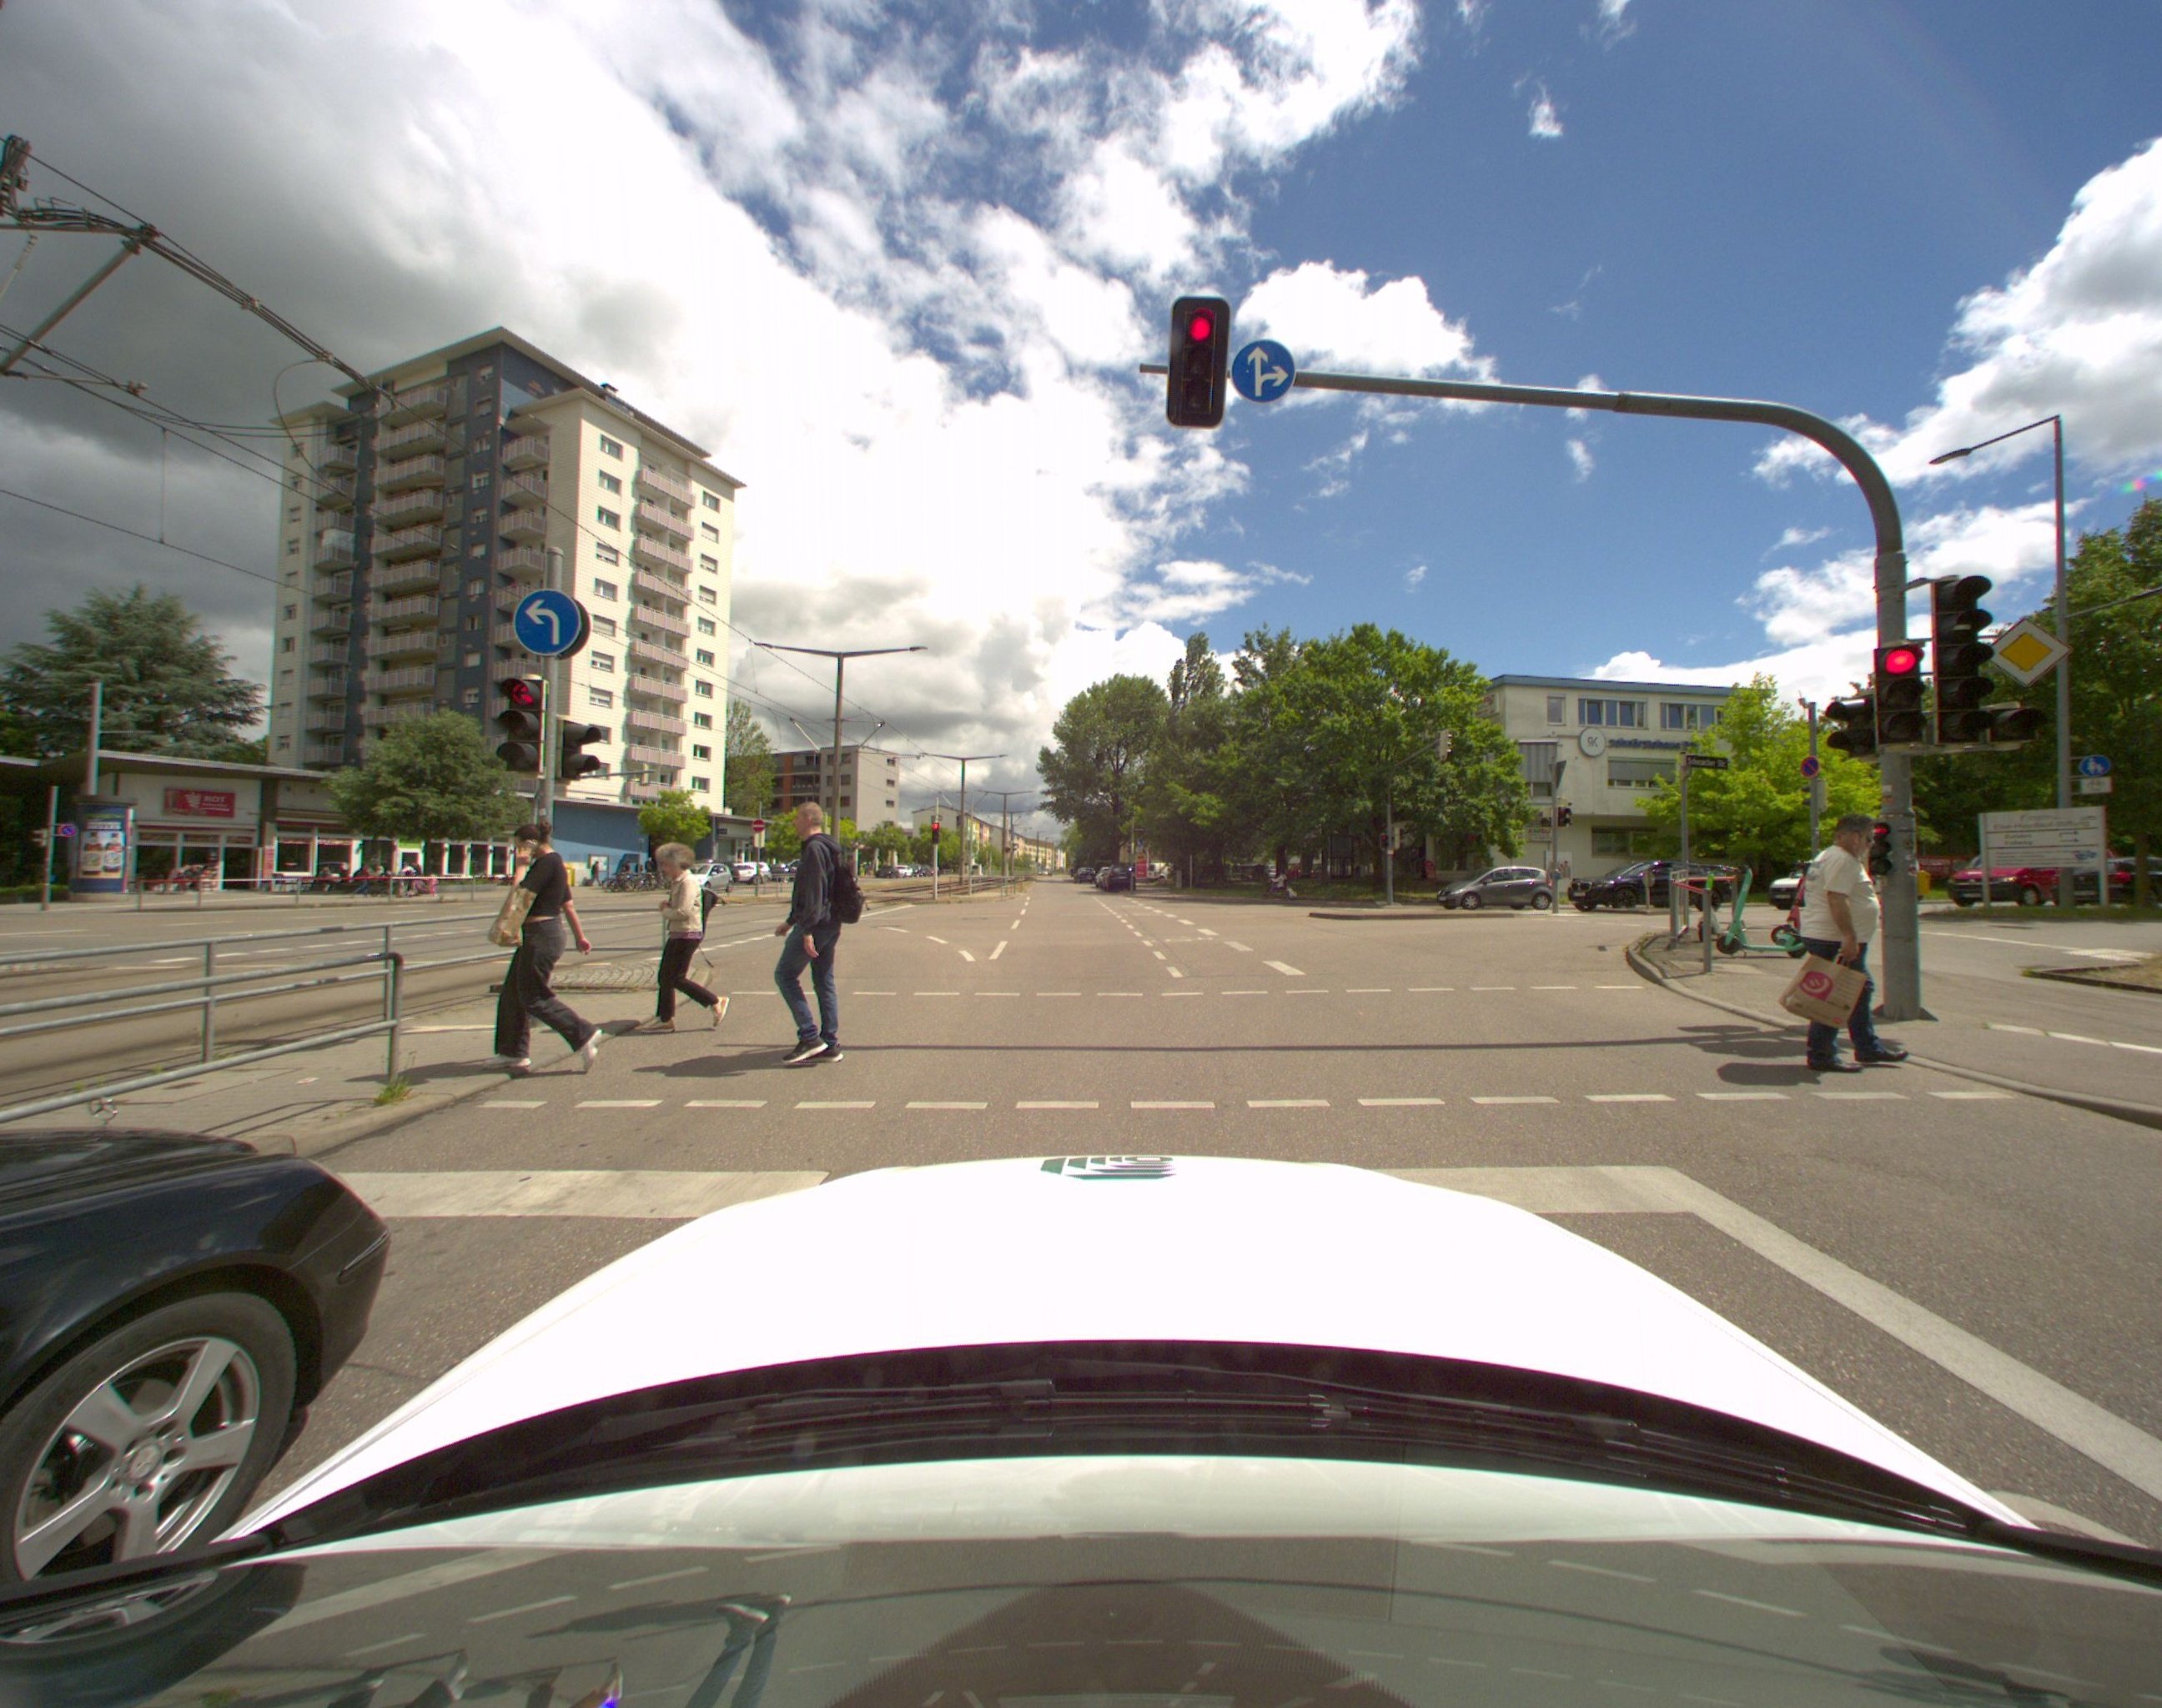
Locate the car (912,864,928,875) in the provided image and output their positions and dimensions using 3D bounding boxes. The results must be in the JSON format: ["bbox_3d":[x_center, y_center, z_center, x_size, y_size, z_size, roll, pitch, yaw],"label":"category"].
[{"bbox_3d":[-21.815,2.082,110.362,1.758,1.395,3.993,0,0,-5],"label":"car"}]

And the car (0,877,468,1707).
[{"bbox_3d":[-2.787,0.792,0.193,1.721,1.461,4.546,0,0,2],"label":"car"}]

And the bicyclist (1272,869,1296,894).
[{"bbox_3d":[8.678,1.165,34.877,0.797,1.022,0.629,1,-1,-34],"label":"bicyclist"}]

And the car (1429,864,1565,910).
[{"bbox_3d":[14.939,1.163,29.406,3.892,1.556,2.001,0,0,2],"label":"car"}]

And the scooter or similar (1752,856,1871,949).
[{"bbox_3d":[10.233,0.675,11.420,1.225,1.240,0.555,2,0,-7],"label":"scooter or similar"}]

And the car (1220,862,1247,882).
[{"bbox_3d":[13.941,1.621,74.572,1.626,1.811,4.030,0,0,-1],"label":"car"}]

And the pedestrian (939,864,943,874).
[{"bbox_3d":[-21.332,2.299,124.192,0.450,1.637,0.481,0,-1,6],"label":"pedestrian"}]

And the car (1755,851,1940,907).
[{"bbox_3d":[24.939,0.781,26.581,4.555,1.717,1.995,0,0,-8],"label":"car"}]

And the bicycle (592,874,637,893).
[{"bbox_3d":[-23.675,1.497,41.315,1.943,0.935,0.494,0,-1,-5],"label":"bicycle"}]

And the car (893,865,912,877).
[{"bbox_3d":[-21.673,2.058,99.194,1.758,1.395,3.993,0,0,-5],"label":"car"}]

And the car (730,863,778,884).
[{"bbox_3d":[-24.930,1.439,62.022,4.165,1.538,1.973,-1,-1,45],"label":"car"}]

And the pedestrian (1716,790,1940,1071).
[{"bbox_3d":[5.115,0.492,5.629,0.866,1.808,0.741,0,0,-2],"label":"pedestrian"}]

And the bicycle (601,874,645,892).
[{"bbox_3d":[-23.754,1.508,42.286,1.943,0.935,0.494,0,-1,-5],"label":"bicycle"}]

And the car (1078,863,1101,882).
[{"bbox_3d":[0.806,1.699,74.643,1.986,1.684,4.002,0,0,2],"label":"car"}]

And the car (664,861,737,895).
[{"bbox_3d":[-19.814,1.215,42.586,1.930,1.693,3.874,0,0,2],"label":"car"}]

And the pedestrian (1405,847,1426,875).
[{"bbox_3d":[19.659,0.412,47.831,0.769,1.643,0.904,0,-1,-12],"label":"pedestrian"}]

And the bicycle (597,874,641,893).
[{"bbox_3d":[-23.707,1.502,41.782,1.943,0.935,0.494,0,-1,-5],"label":"bicycle"}]

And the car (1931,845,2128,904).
[{"bbox_3d":[31.672,0.689,27.264,4.800,1.864,1.994,0,-2,-8],"label":"car"}]

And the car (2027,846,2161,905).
[{"bbox_3d":[28.331,0.568,22.013,3.987,1.487,1.752,-1,-3,-10],"label":"car"}]

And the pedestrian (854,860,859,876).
[{"bbox_3d":[-25.147,1.548,91.247,0.547,1.716,0.404,0,-1,-8],"label":"pedestrian"}]

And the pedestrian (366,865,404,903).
[{"bbox_3d":[-30.966,1.336,36.228,0.957,1.659,1.002,-1,-1,27],"label":"pedestrian"}]

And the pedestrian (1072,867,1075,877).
[{"bbox_3d":[-1.326,2.919,135.394,0.477,1.637,0.454,0,-1,1],"label":"pedestrian"}]

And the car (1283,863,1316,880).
[{"bbox_3d":[20.565,1.632,76.692,1.728,1.595,3.992,0,0,-5],"label":"car"}]

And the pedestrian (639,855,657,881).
[{"bbox_3d":[-31.956,1.014,60.095,0.865,1.917,1.210,0,0,-12],"label":"pedestrian"}]

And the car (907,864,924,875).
[{"bbox_3d":[-21.461,2.034,105.787,1.758,1.395,3.993,0,0,-5],"label":"car"}]

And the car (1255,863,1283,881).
[{"bbox_3d":[17.593,1.651,76.307,1.626,1.595,3.998,0,0,-1],"label":"car"}]

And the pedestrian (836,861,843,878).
[{"bbox_3d":[-23.978,1.537,80.940,0.545,1.716,0.405,0,-1,1],"label":"pedestrian"}]

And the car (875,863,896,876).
[{"bbox_3d":[-22.008,1.688,91.759,1.758,1.395,3.993,0,0,-5],"label":"car"}]

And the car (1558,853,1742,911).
[{"bbox_3d":[17.759,0.844,25.557,4.551,1.717,1.996,0,0,-5],"label":"car"}]

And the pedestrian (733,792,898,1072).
[{"bbox_3d":[-1.946,0.541,6.119,0.963,1.942,0.896,0,0,-3],"label":"pedestrian"}]

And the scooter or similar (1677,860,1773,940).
[{"bbox_3d":[9.748,0.686,12.333,1.360,1.156,0.540,1,0,-23],"label":"scooter or similar"}]

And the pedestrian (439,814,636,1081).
[{"bbox_3d":[-3.859,0.620,5.867,0.933,1.765,0.769,0,0,-10],"label":"pedestrian"}]

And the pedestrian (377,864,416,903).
[{"bbox_3d":[-29.714,1.271,35.355,0.935,1.659,1.106,-2,-1,35],"label":"pedestrian"}]

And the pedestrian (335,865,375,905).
[{"bbox_3d":[-31.331,1.328,35.163,0.957,1.659,1.002,-1,-1,27],"label":"pedestrian"}]

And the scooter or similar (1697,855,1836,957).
[{"bbox_3d":[8.846,0.654,10.544,1.336,1.277,0.463,0,0,8],"label":"scooter or similar"}]

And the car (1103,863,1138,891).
[{"bbox_3d":[2.485,1.451,51.896,2.144,1.684,4.001,0,-1,2],"label":"car"}]

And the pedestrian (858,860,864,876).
[{"bbox_3d":[-24.502,1.577,90.847,0.547,1.716,0.667,0,-1,-8],"label":"pedestrian"}]

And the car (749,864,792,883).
[{"bbox_3d":[-24.879,1.549,65.268,1.800,1.420,4.166,0,-1,-43],"label":"car"}]

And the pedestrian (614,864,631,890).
[{"bbox_3d":[-29.794,1.490,52.879,0.767,1.615,0.695,0,-1,-12],"label":"pedestrian"}]

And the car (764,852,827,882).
[{"bbox_3d":[-24.690,1.085,70.219,2.848,2.478,6.641,0,-1,-42],"label":"car"}]

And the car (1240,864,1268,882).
[{"bbox_3d":[15.921,1.754,75.049,1.626,1.573,4.030,0,0,-1],"label":"car"}]

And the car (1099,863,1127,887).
[{"bbox_3d":[2.326,1.557,59.351,1.986,1.684,4.001,0,-1,2],"label":"car"}]

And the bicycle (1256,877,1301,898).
[{"bbox_3d":[8.460,1.430,34.987,0.797,0.819,1.788,1,-1,-37],"label":"bicycle"}]

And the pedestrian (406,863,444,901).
[{"bbox_3d":[-29.495,1.265,36.610,0.935,1.659,1.106,-2,-1,35],"label":"pedestrian"}]

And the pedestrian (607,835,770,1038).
[{"bbox_3d":[-3.484,0.693,7.292,0.945,1.674,0.874,-1,-1,16],"label":"pedestrian"}]

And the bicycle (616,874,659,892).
[{"bbox_3d":[-23.541,1.520,43.258,1.943,0.935,0.494,0,-1,-5],"label":"bicycle"}]

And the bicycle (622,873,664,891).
[{"bbox_3d":[-23.548,1.526,43.770,1.943,0.935,0.494,0,-1,-5],"label":"bicycle"}]

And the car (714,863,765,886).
[{"bbox_3d":[-24.627,1.439,58.729,4.165,1.570,1.973,-1,-1,45],"label":"car"}]

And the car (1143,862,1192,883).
[{"bbox_3d":[7.763,1.630,73.305,4.001,1.823,1.766,0,-1,-21],"label":"car"}]

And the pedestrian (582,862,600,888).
[{"bbox_3d":[-30.230,1.297,50.268,0.767,1.615,0.695,0,-1,-11],"label":"pedestrian"}]
